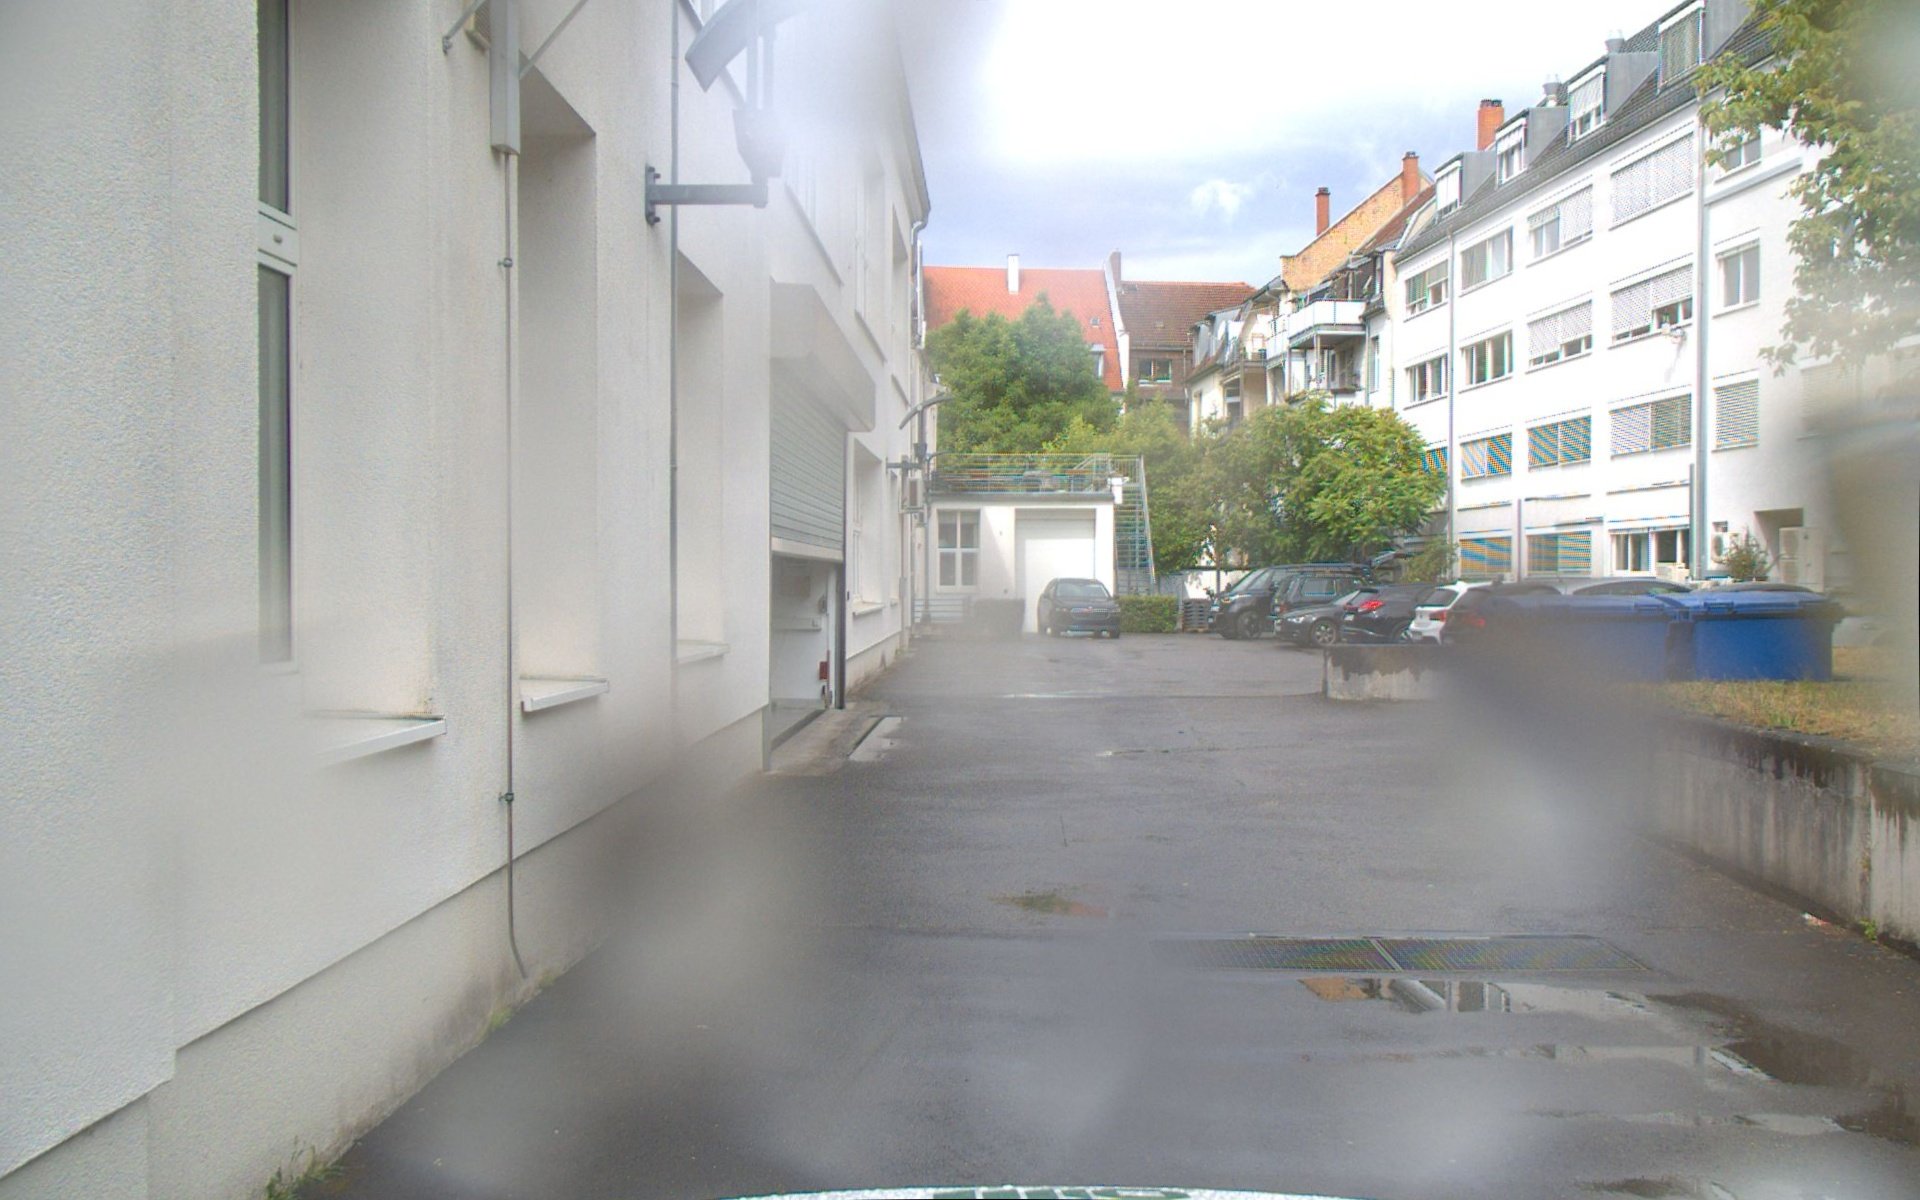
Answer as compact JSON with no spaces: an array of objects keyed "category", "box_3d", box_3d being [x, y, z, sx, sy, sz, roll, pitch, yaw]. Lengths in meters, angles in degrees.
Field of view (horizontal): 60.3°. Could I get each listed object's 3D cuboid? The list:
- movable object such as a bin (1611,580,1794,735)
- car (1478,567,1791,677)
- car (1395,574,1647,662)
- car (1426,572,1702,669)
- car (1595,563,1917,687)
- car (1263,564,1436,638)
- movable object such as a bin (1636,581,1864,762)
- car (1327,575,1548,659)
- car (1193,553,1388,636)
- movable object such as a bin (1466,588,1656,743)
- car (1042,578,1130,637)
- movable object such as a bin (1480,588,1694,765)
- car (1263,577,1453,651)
[{"category":"movable object such as a bin","box_3d":[6.668,0.495,14.918,1.161,1.327,1.107,-1,0,2]},{"category":"car","box_3d":[9.950,0.307,24.588,3.907,1.471,1.806,-1,0,-2]},{"category":"car","box_3d":[10.029,0.307,29.745,3.909,1.484,1.771,-1,0,-5]},{"category":"car","box_3d":[9.932,0.316,27.362,3.908,1.427,1.772,-2,1,-4]},{"category":"car","box_3d":[10.286,0.313,21.528,3.346,1.452,1.687,-2,0,-2]},{"category":"car","box_3d":[9.575,0.024,40.863,3.829,1.717,1.817,-1,0,-1]},{"category":"movable object such as a bin","box_3d":[6.256,0.540,13.189,1.266,1.360,1.197,-1,0,3]},{"category":"car","box_3d":[9.501,0.325,33.059,3.834,1.540,1.817,-1,0,-6]},{"category":"car","box_3d":[8.692,-0.170,43.682,4.550,2.038,2.220,-1,1,-10]},{"category":"movable object such as a bin","box_3d":[5.396,0.569,14.940,1.343,1.327,1.083,-1,0,3]},{"category":"car","box_3d":[3.245,0.166,43.357,1.939,1.469,3.999,0,1,-1]},{"category":"movable object such as a bin","box_3d":[4.950,0.584,13.154,1.309,1.314,1.096,-1,1,3]},{"category":"car","box_3d":[9.010,0.306,37.580,3.832,1.540,1.750,-1,0,-4]}]
